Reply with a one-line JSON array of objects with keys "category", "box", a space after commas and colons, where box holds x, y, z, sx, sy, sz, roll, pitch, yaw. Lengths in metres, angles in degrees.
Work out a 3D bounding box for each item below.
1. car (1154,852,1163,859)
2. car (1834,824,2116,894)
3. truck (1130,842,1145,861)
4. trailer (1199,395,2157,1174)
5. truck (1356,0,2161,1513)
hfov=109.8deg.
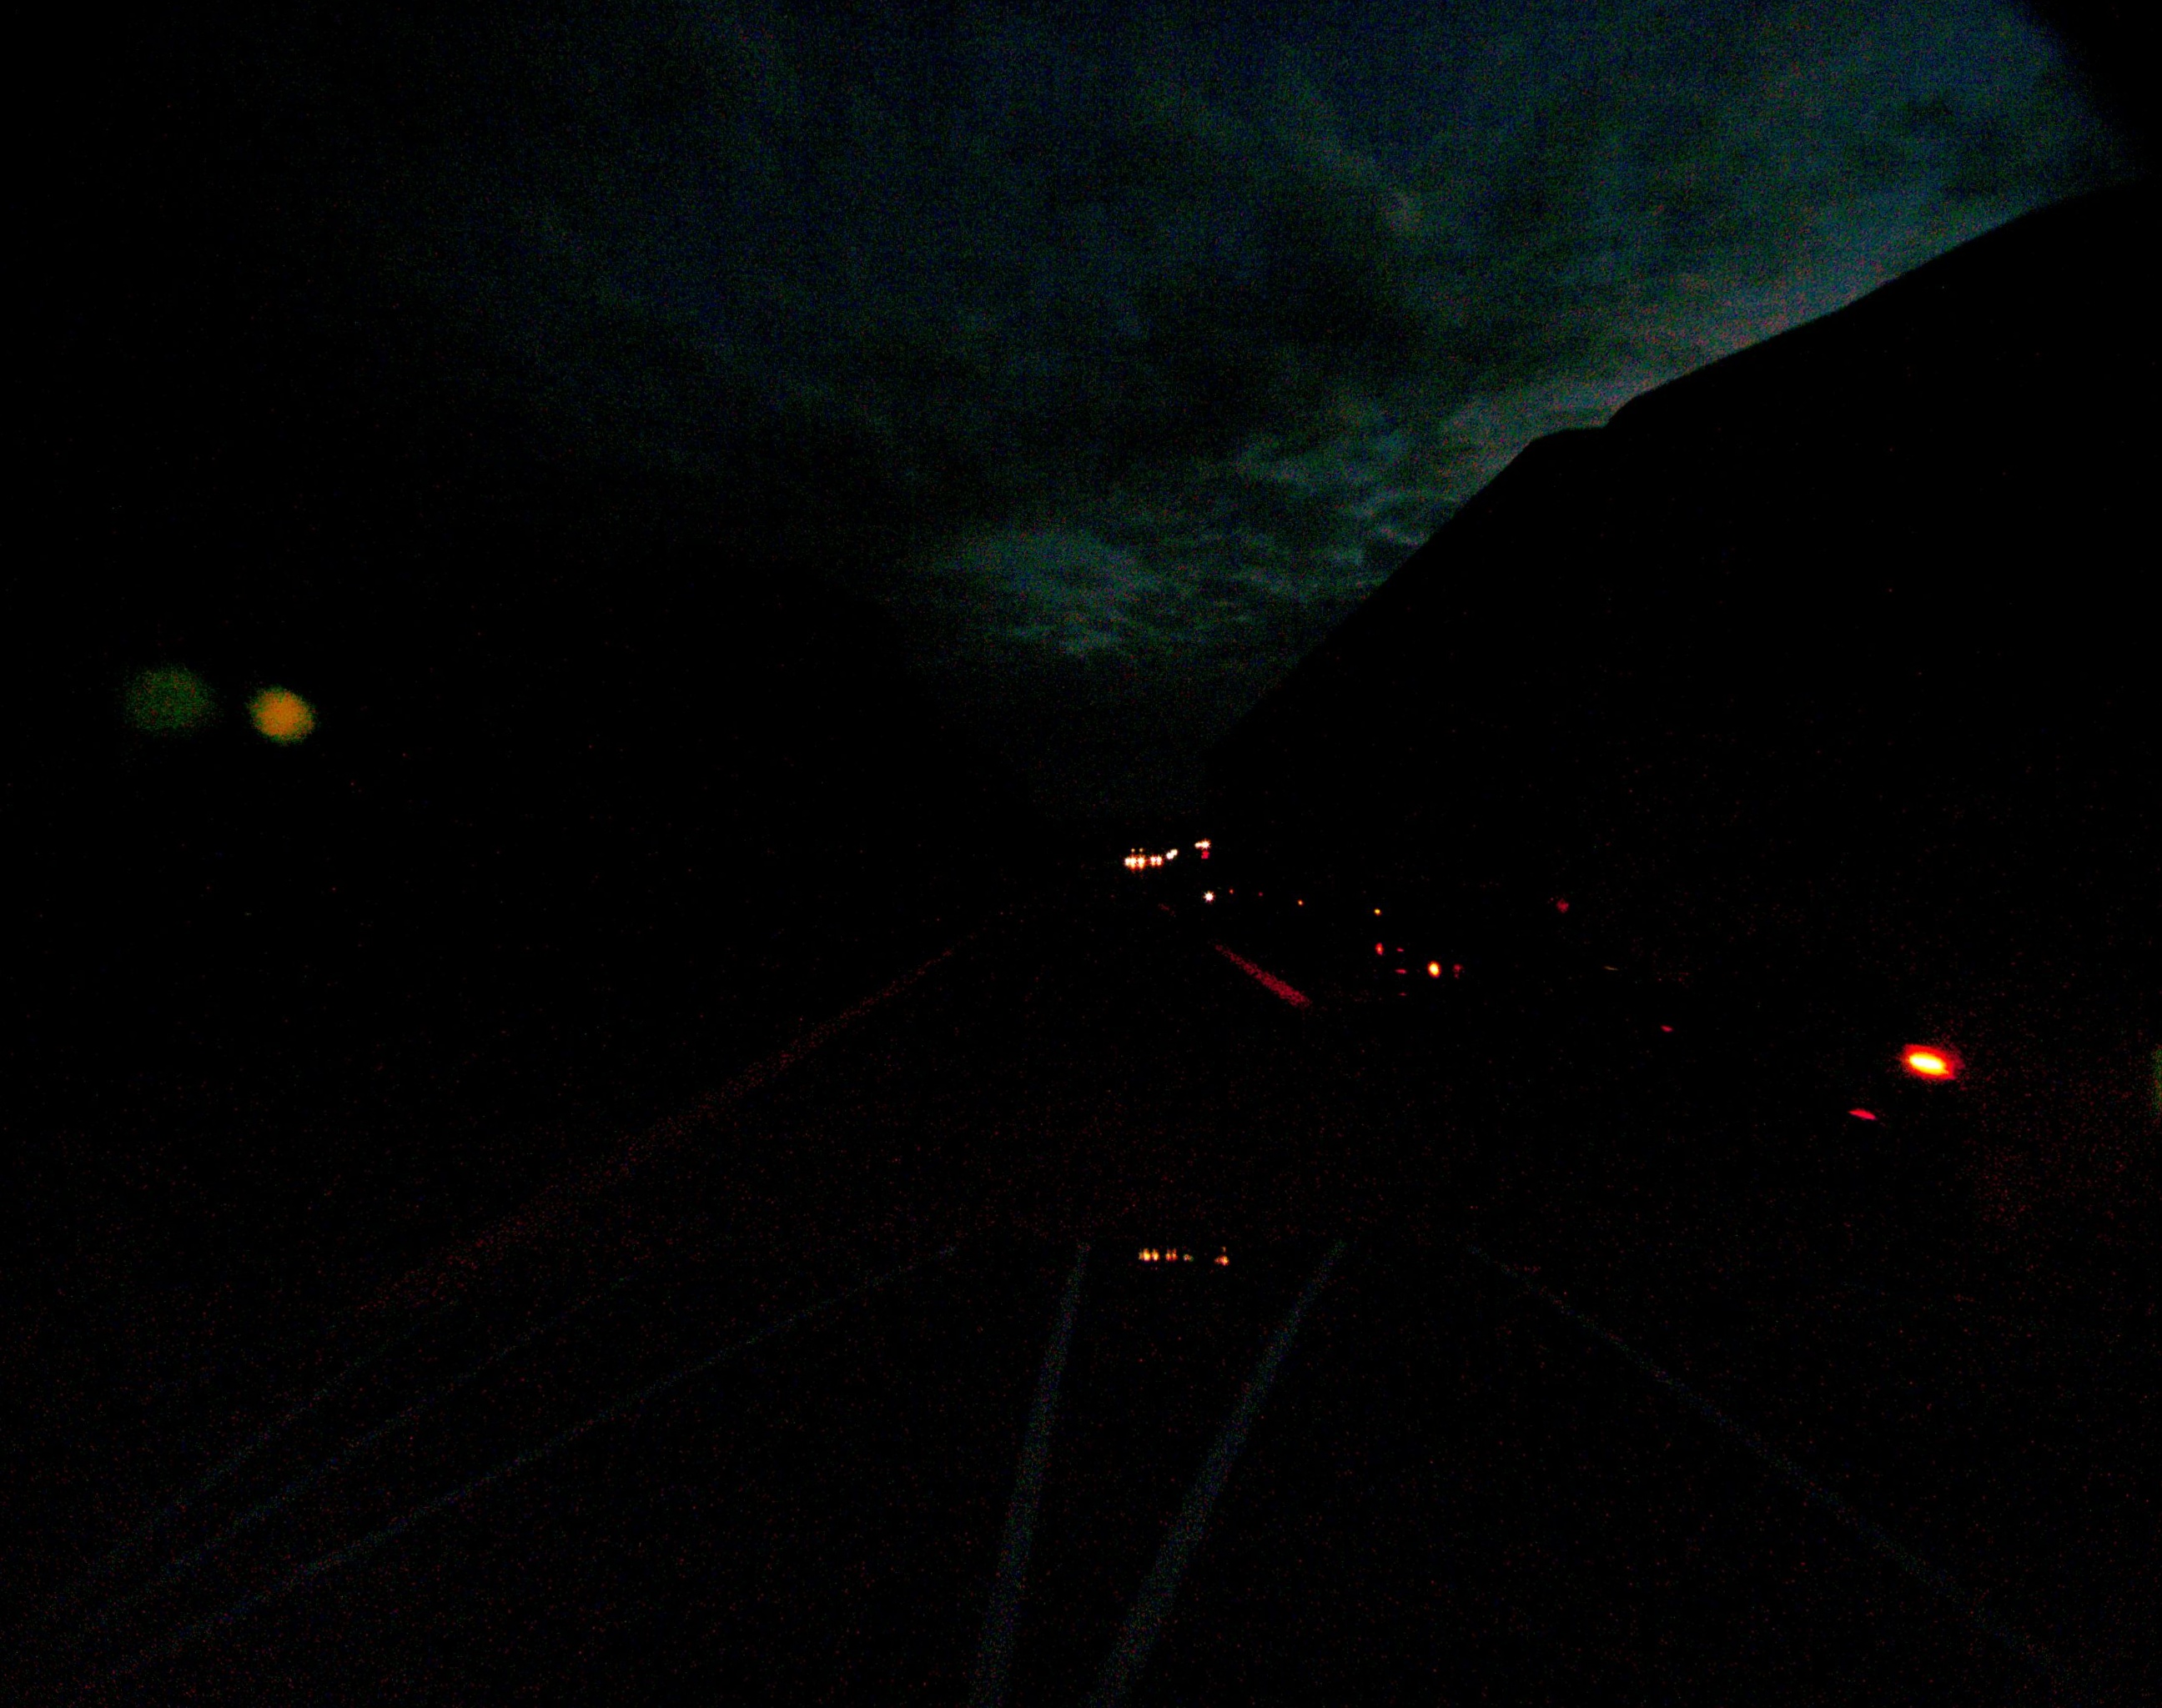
[{"category": "car", "box": [20.596, 0.385, 202.068, 1.998, 2.002, 4.001, -1, 0, 3]}, {"category": "car", "box": [24.469, 0.132, 21.185, 1.998, 1.655, 5.011, -2, 0, 1]}, {"category": "truck", "box": [13.486, -0.598, 182.215, 3.352, 4.293, 11.327, -1, 0, 4]}, {"category": "trailer", "box": [4.191, -0.330, 11.276, 2.780, 3.892, 14.820, -1, 0, 1]}, {"category": "truck", "box": [4.064, -0.343, 4.350, 2.786, 3.879, 6.155, -1, 0, 1]}]
